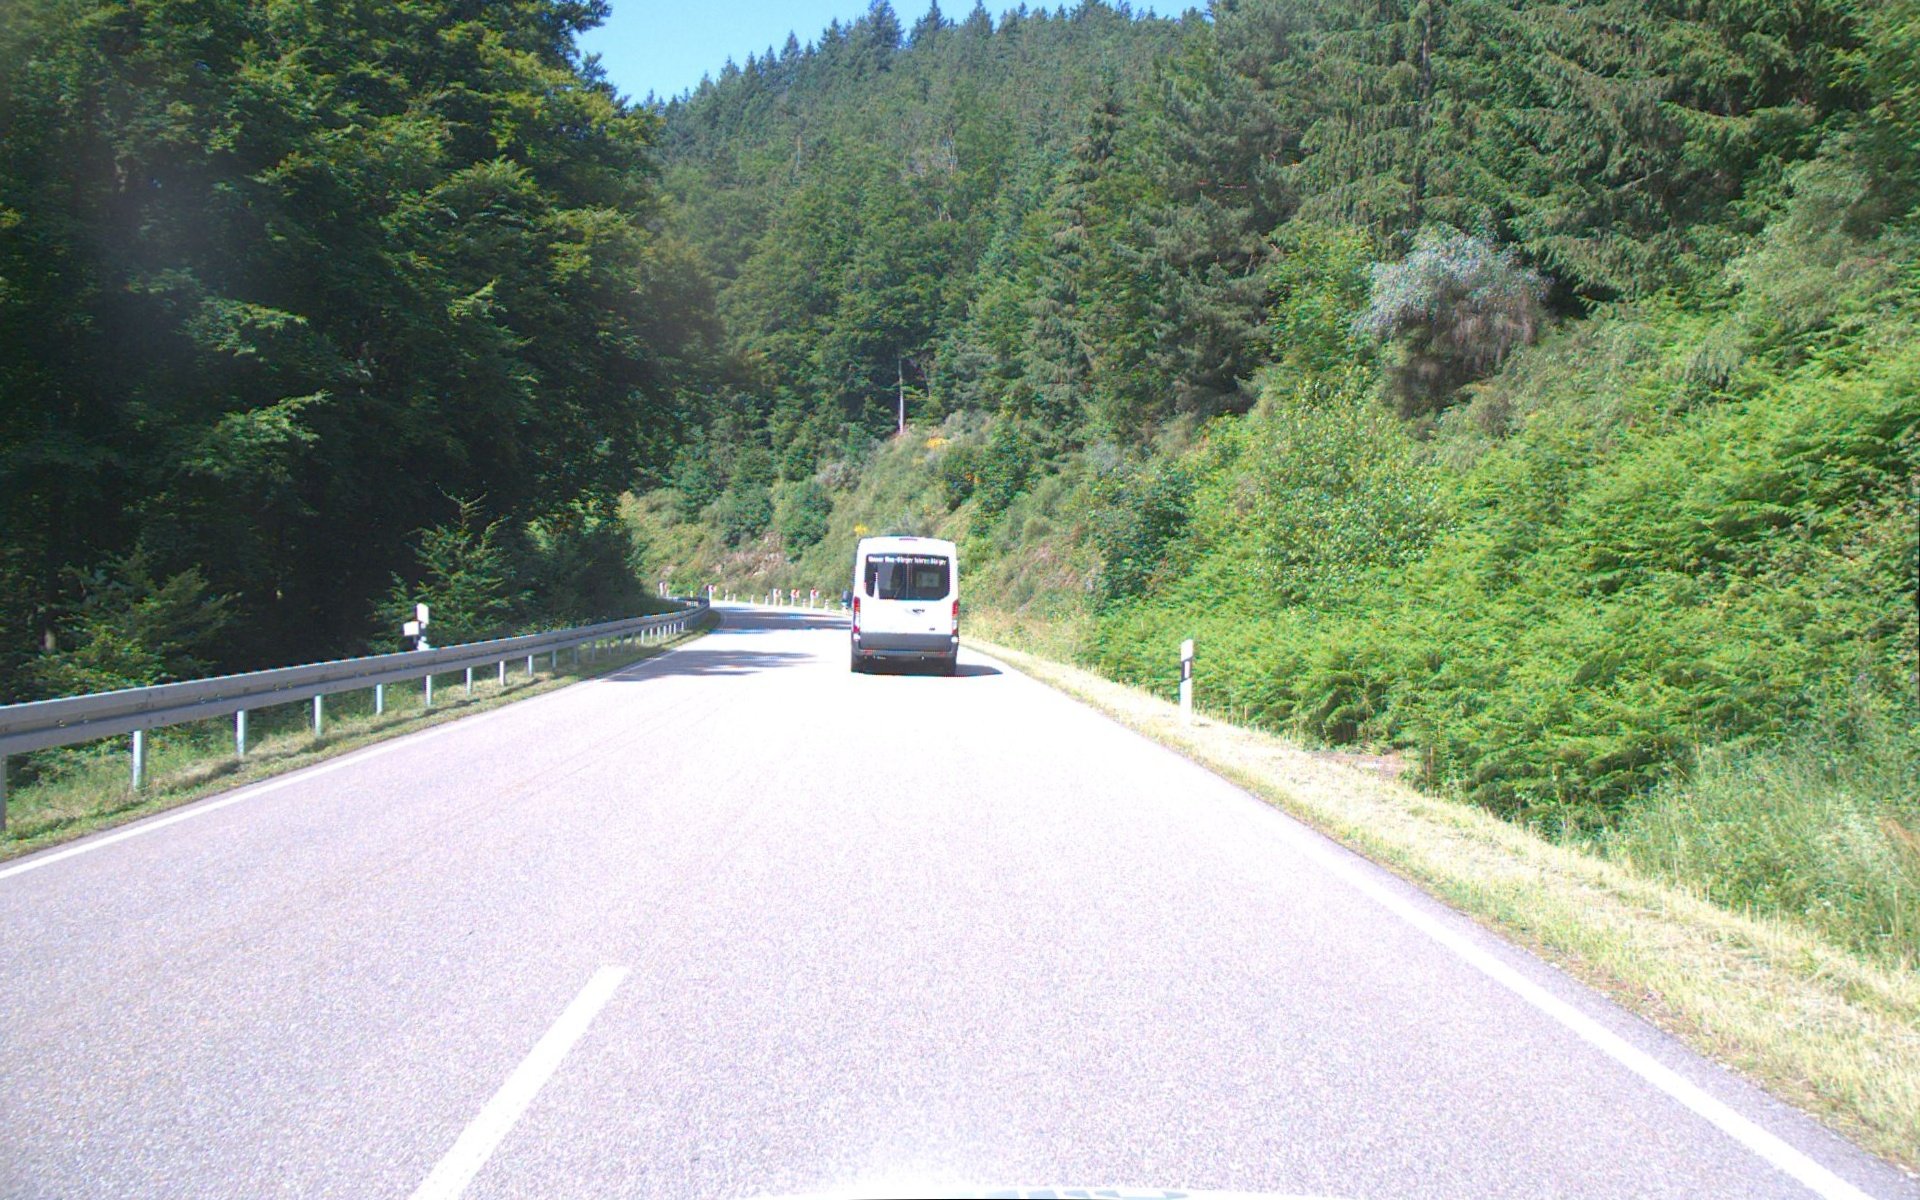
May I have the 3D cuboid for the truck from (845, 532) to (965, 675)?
[{"bbox_3d":[-1.148,0.061,31.987,2.043,2.502,4.870,1,0,-5],"label":"truck"}]
